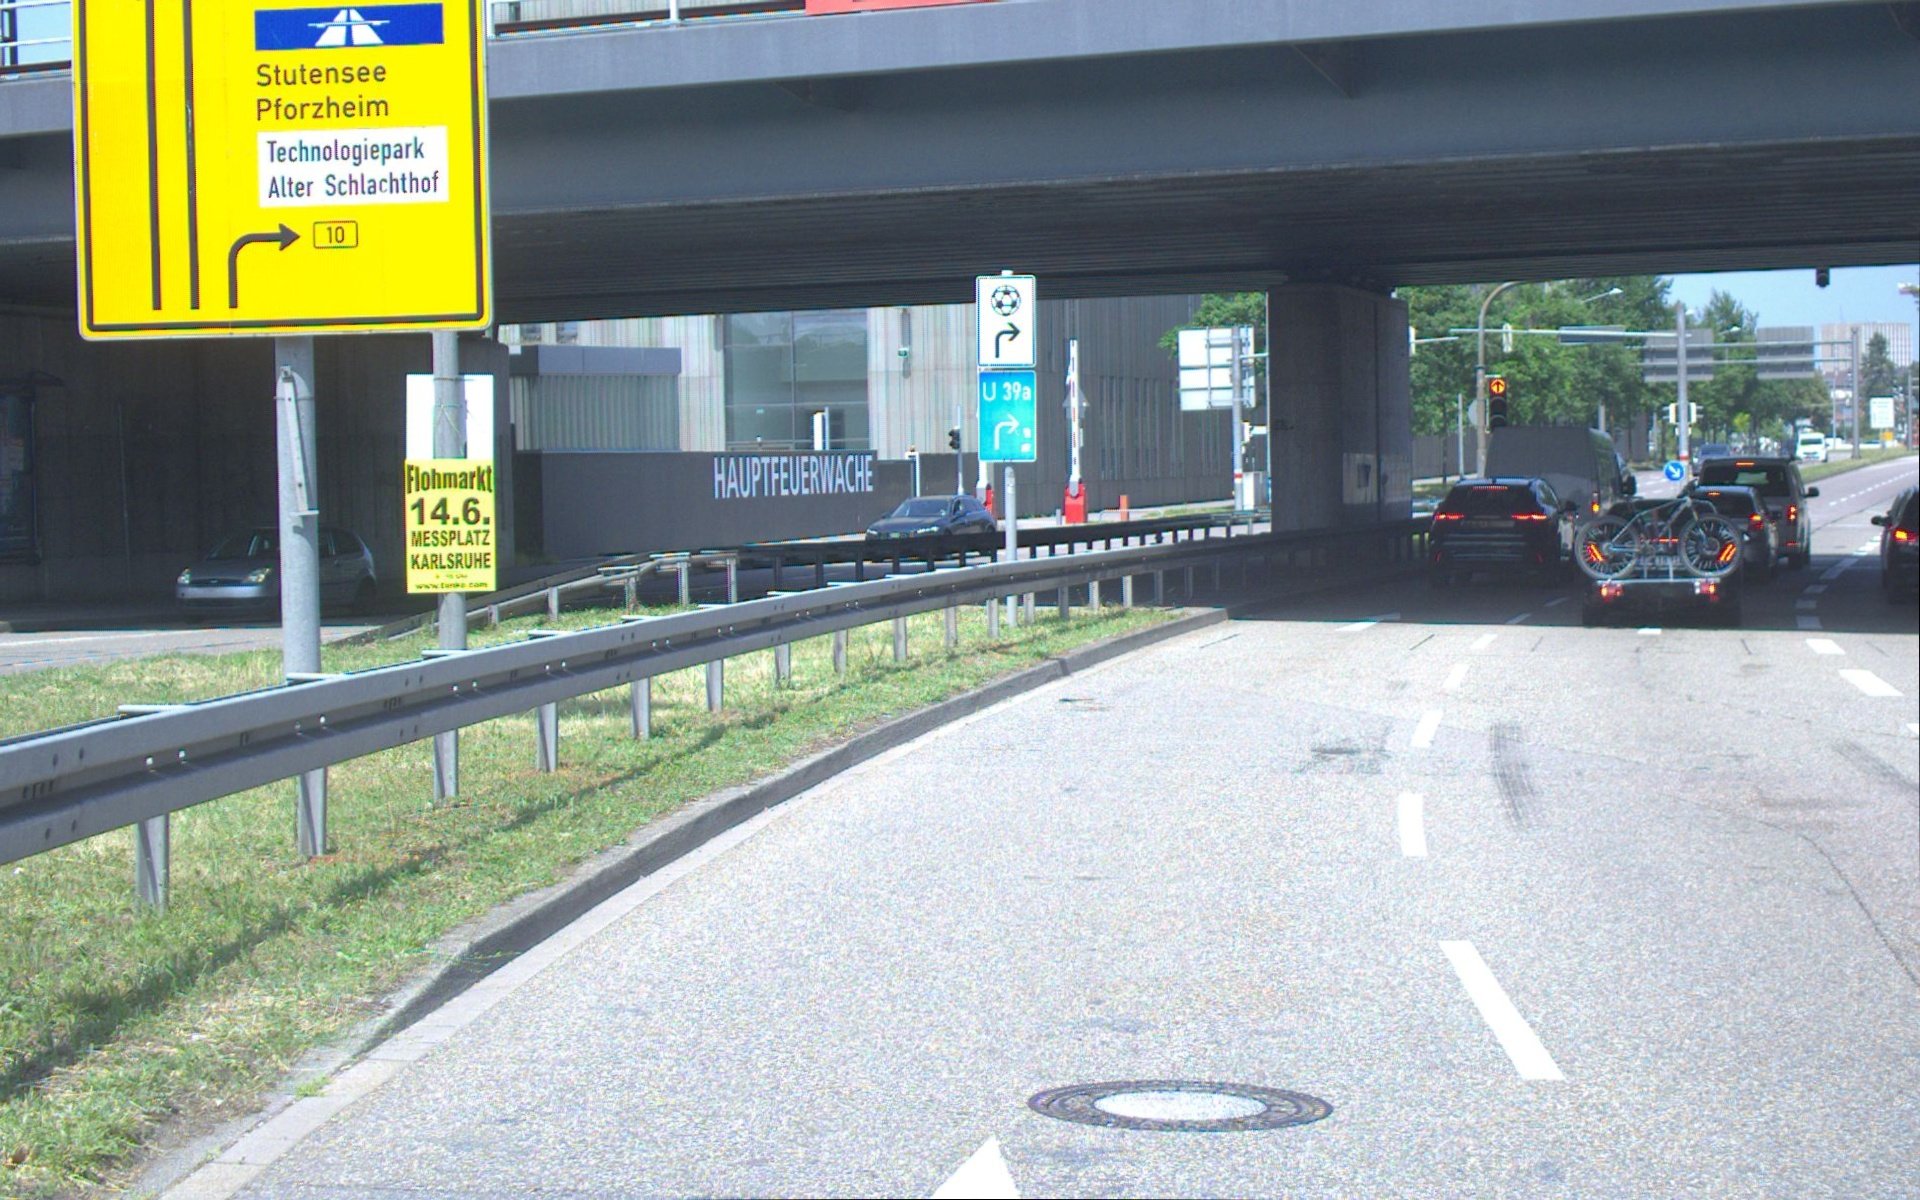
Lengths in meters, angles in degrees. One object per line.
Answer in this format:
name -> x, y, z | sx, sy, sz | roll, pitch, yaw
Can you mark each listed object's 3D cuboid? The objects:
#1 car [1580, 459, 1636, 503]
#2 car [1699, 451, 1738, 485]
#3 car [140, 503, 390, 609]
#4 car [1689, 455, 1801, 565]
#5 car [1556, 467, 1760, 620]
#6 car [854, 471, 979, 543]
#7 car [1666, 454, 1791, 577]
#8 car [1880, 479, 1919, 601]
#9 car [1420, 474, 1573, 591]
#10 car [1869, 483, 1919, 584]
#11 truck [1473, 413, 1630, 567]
car -> 24.754, -4.524, 131.282 | 1.855, 1.617, 3.998 | 0, 1, 14
car -> 38.112, -6.635, 172.697 | 1.855, 1.617, 3.998 | 0, 1, 13
car -> -10.200, -0.652, 50.759 | 1.995, 1.436, 3.997 | -2, 0, 15
car -> 13.889, -1.577, 60.679 | 1.841, 1.883, 3.998 | 0, 1, 14
car -> 7.913, -0.664, 38.729 | 1.958, 1.628, 4.277 | 0, 2, 15
car -> -0.976, -2.128, 79.053 | 1.855, 1.617, 3.997 | 0, 1, 15
car -> 12.276, -1.336, 54.772 | 1.841, 1.883, 3.998 | 0, 1, 14
car -> 13.249, -0.811, 45.797 | 1.841, 1.563, 3.998 | 0, 1, 14
car -> 8.232, -1.037, 52.527 | 1.941, 1.715, 3.998 | 0, 1, 14
car -> 14.854, -1.019, 52.330 | 1.906, 1.483, 3.998 | 0, 1, 14
truck -> 10.306, -1.895, 59.670 | 2.069, 2.529, 3.997 | -1, 1, 18
